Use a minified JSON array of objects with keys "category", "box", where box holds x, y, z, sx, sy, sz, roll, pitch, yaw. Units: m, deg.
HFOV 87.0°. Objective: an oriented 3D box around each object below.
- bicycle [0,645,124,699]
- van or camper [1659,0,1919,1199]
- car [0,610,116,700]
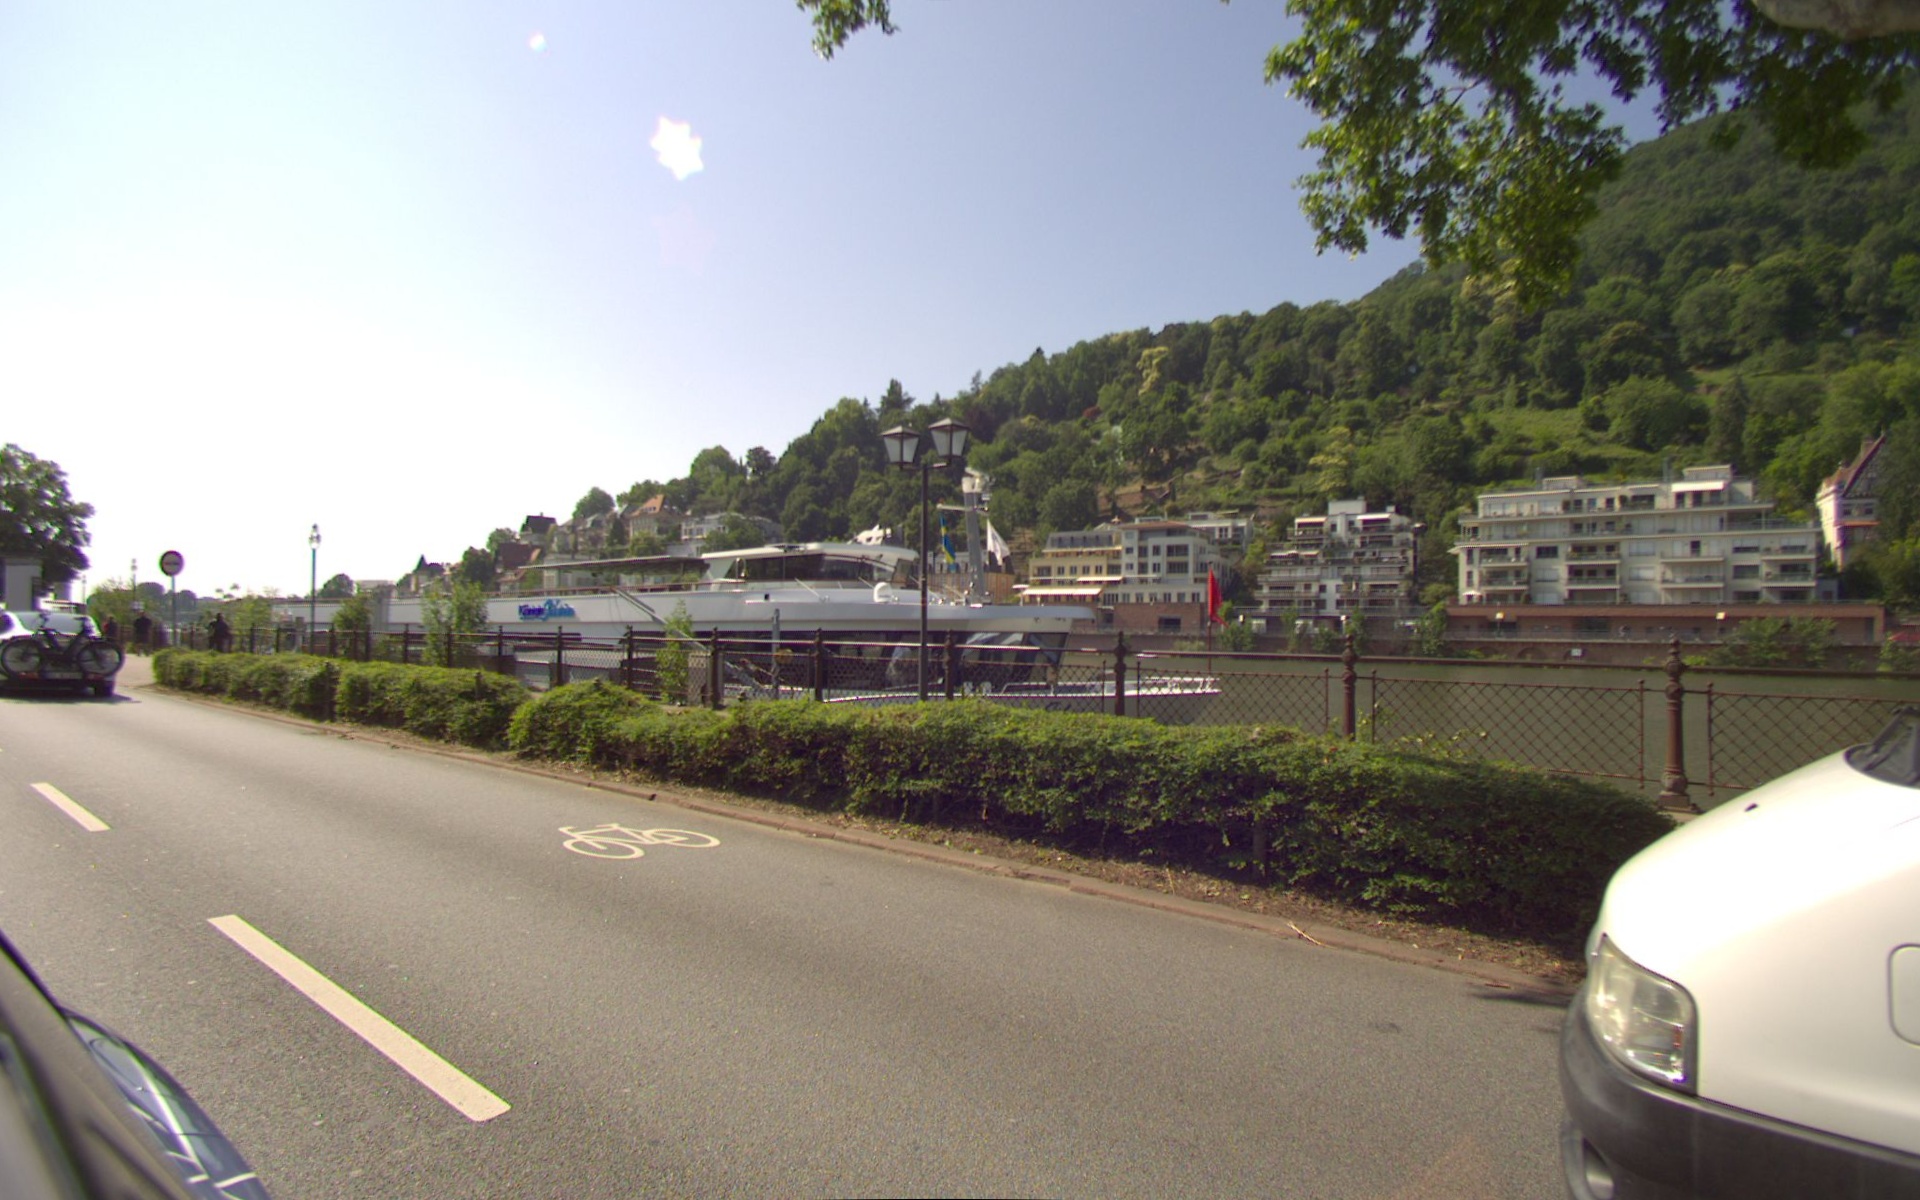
[{"category":"bicycle","box":[-16.617,1.303,18.544,0.955,0.933,1.848,-1,-4,42]},{"category":"van or camper","box":[4.172,0.107,0.375,6.260,2.682,2.298,-1,-4,41]},{"category":"car","box":[-18.414,1.057,20.158,3.958,1.625,1.802,-1,-4,41]}]
